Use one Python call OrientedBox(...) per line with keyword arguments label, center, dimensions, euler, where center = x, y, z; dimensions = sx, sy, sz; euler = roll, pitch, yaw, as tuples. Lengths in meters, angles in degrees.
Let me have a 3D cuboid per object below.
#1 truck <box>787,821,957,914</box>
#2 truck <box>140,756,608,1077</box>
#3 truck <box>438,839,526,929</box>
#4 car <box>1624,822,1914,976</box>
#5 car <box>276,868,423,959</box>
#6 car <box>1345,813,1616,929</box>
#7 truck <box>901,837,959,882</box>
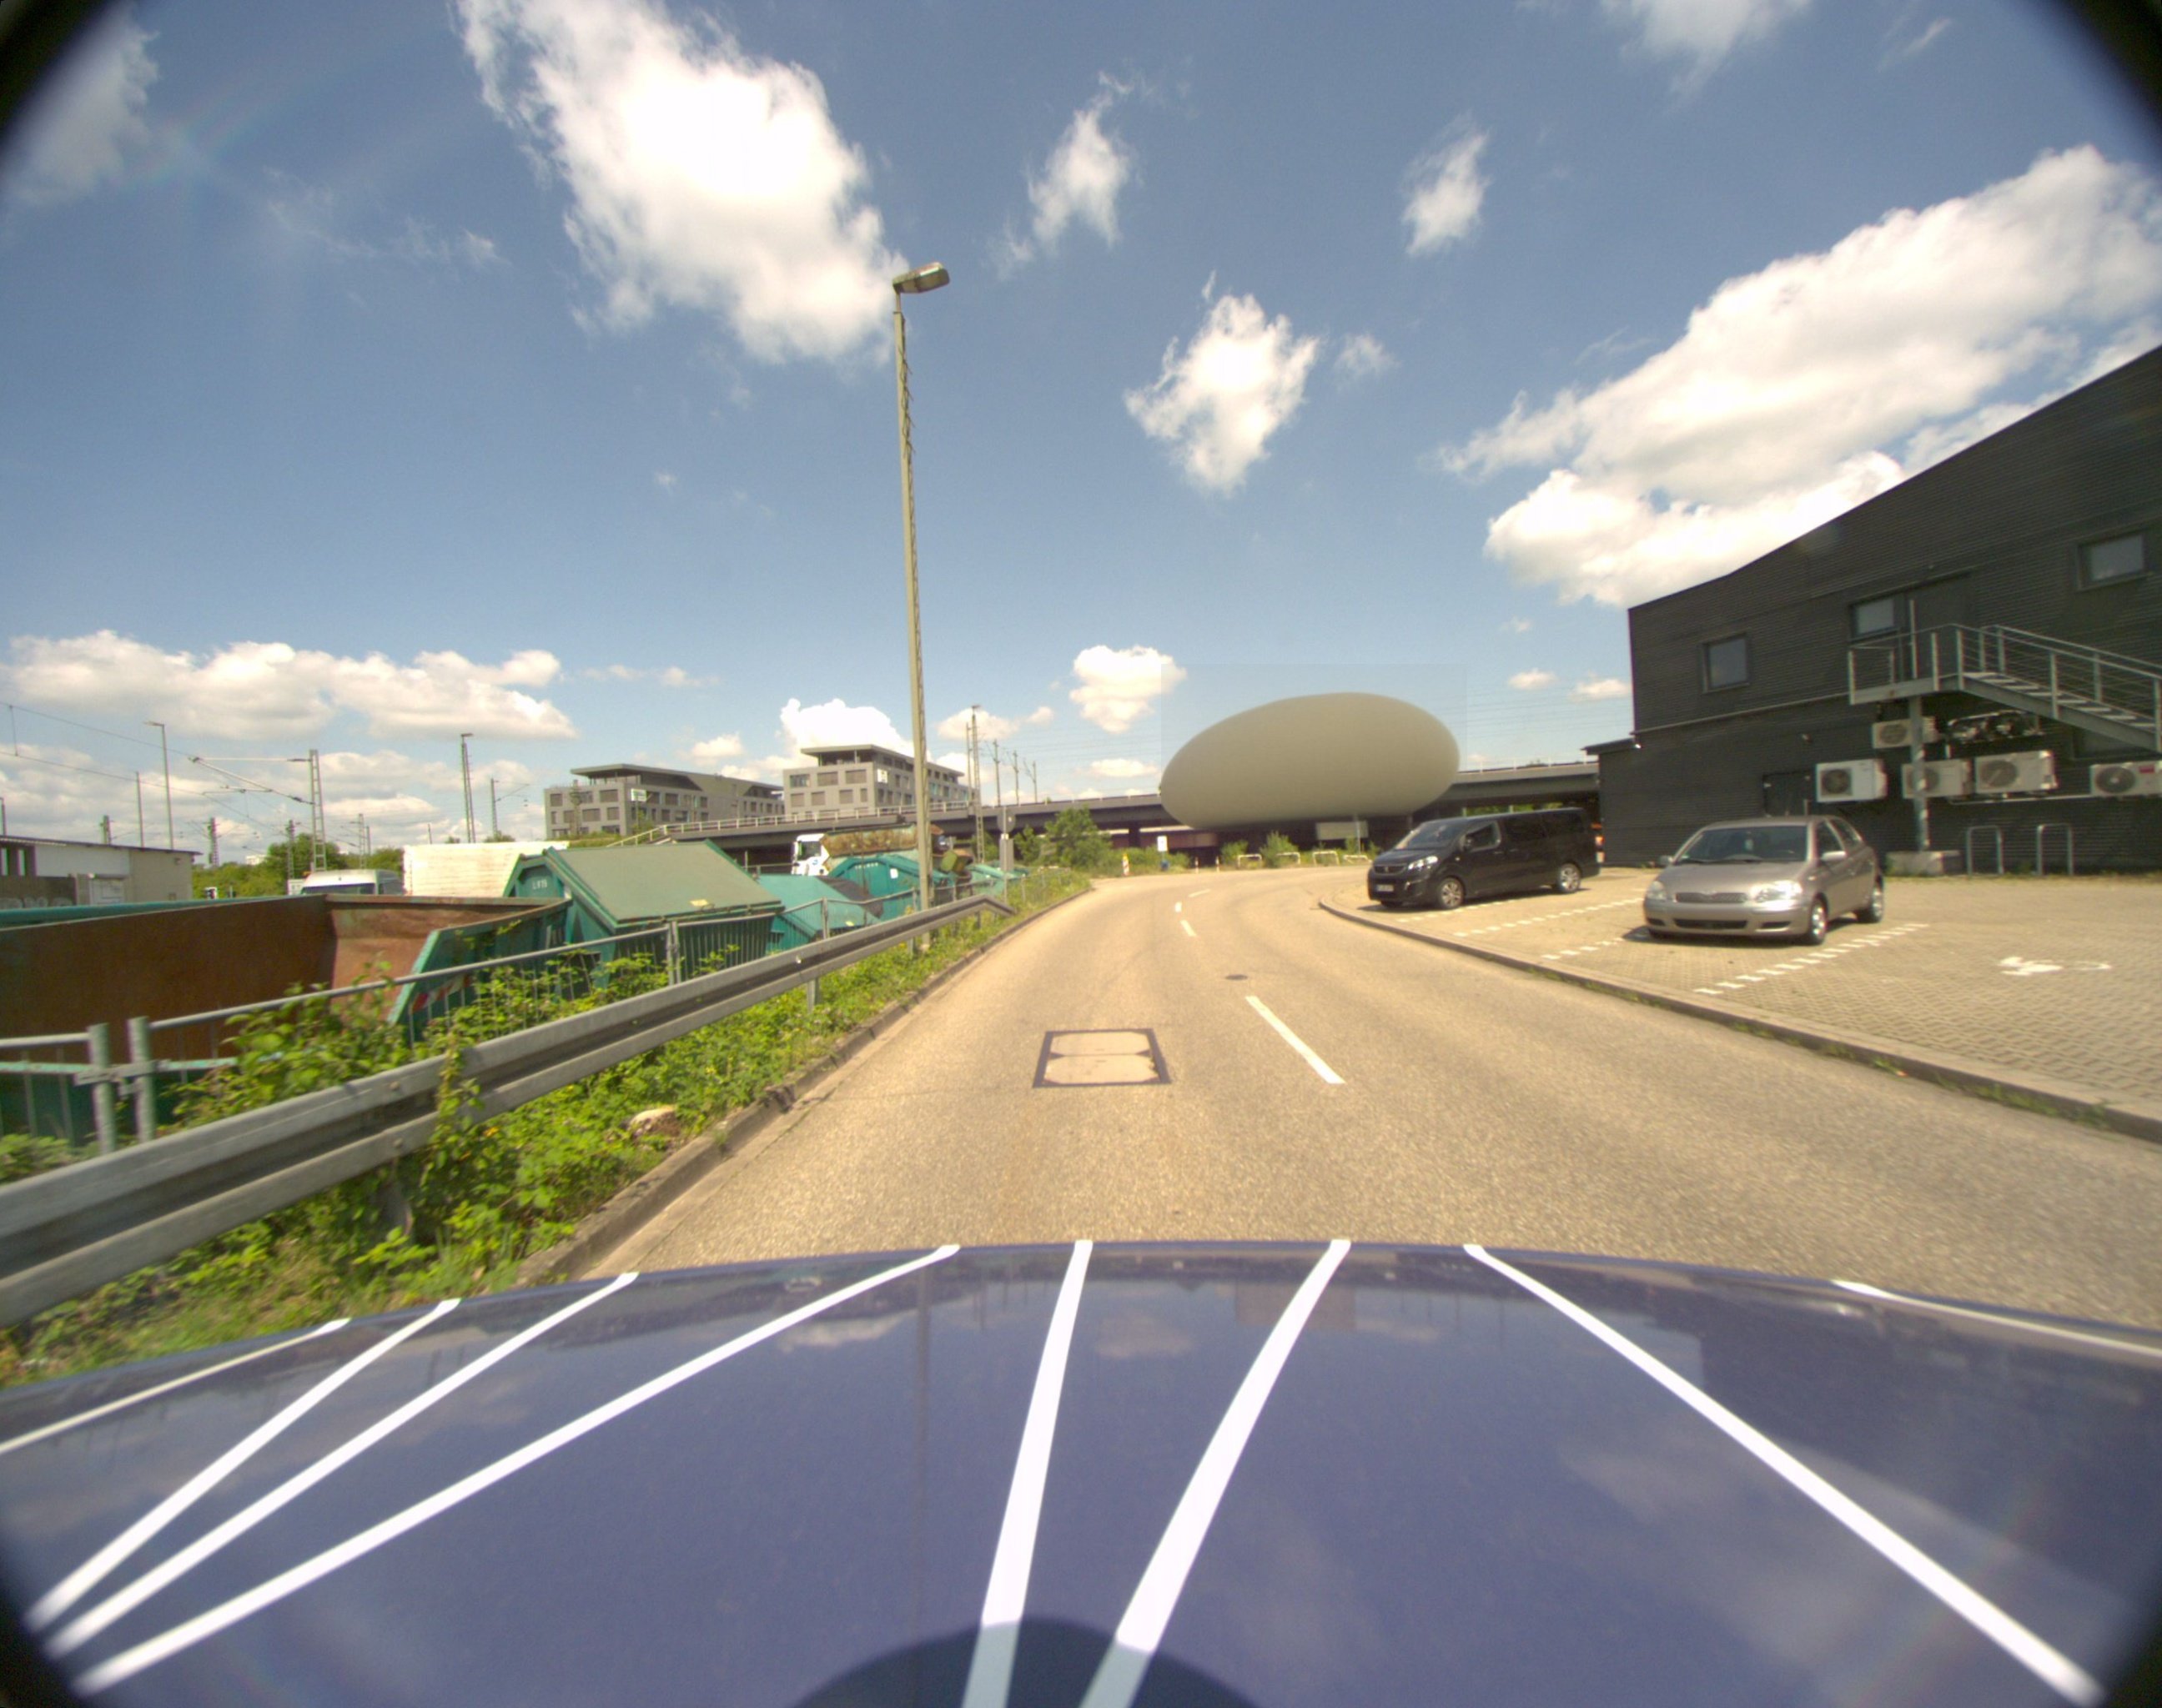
OrientedBox(label="truck", center=(-7.531, 0.498, 27.663), dimensions=(5.506, 3.080, 2.001), euler=(-2, 1, 9))
OrientedBox(label="truck", center=(-10.156, 0.672, 12.354), dimensions=(2.999, 3.399, 8.098), euler=(-2, 0, -24))
OrientedBox(label="truck", center=(-28.069, 1.334, 35.491), dimensions=(2.660, 3.625, 6.870), euler=(-6, 2, -41))
OrientedBox(label="car", center=(8.852, 0.469, 9.719), dimensions=(3.701, 1.468, 1.793), euler=(-4, 0, -33))
OrientedBox(label="car", center=(-24.024, 1.808, 25.271), dimensions=(2.069, 2.512, 5.869), euler=(-5, 1, -31))
OrientedBox(label="car", center=(8.736, 0.293, 16.640), dimensions=(5.346, 1.905, 1.997), euler=(-5, 1, -18))
OrientedBox(label="truck", center=(-12.216, 0.423, 60.668), dimensions=(2.763, 3.255, 8.185), euler=(-2, 0, -23))
